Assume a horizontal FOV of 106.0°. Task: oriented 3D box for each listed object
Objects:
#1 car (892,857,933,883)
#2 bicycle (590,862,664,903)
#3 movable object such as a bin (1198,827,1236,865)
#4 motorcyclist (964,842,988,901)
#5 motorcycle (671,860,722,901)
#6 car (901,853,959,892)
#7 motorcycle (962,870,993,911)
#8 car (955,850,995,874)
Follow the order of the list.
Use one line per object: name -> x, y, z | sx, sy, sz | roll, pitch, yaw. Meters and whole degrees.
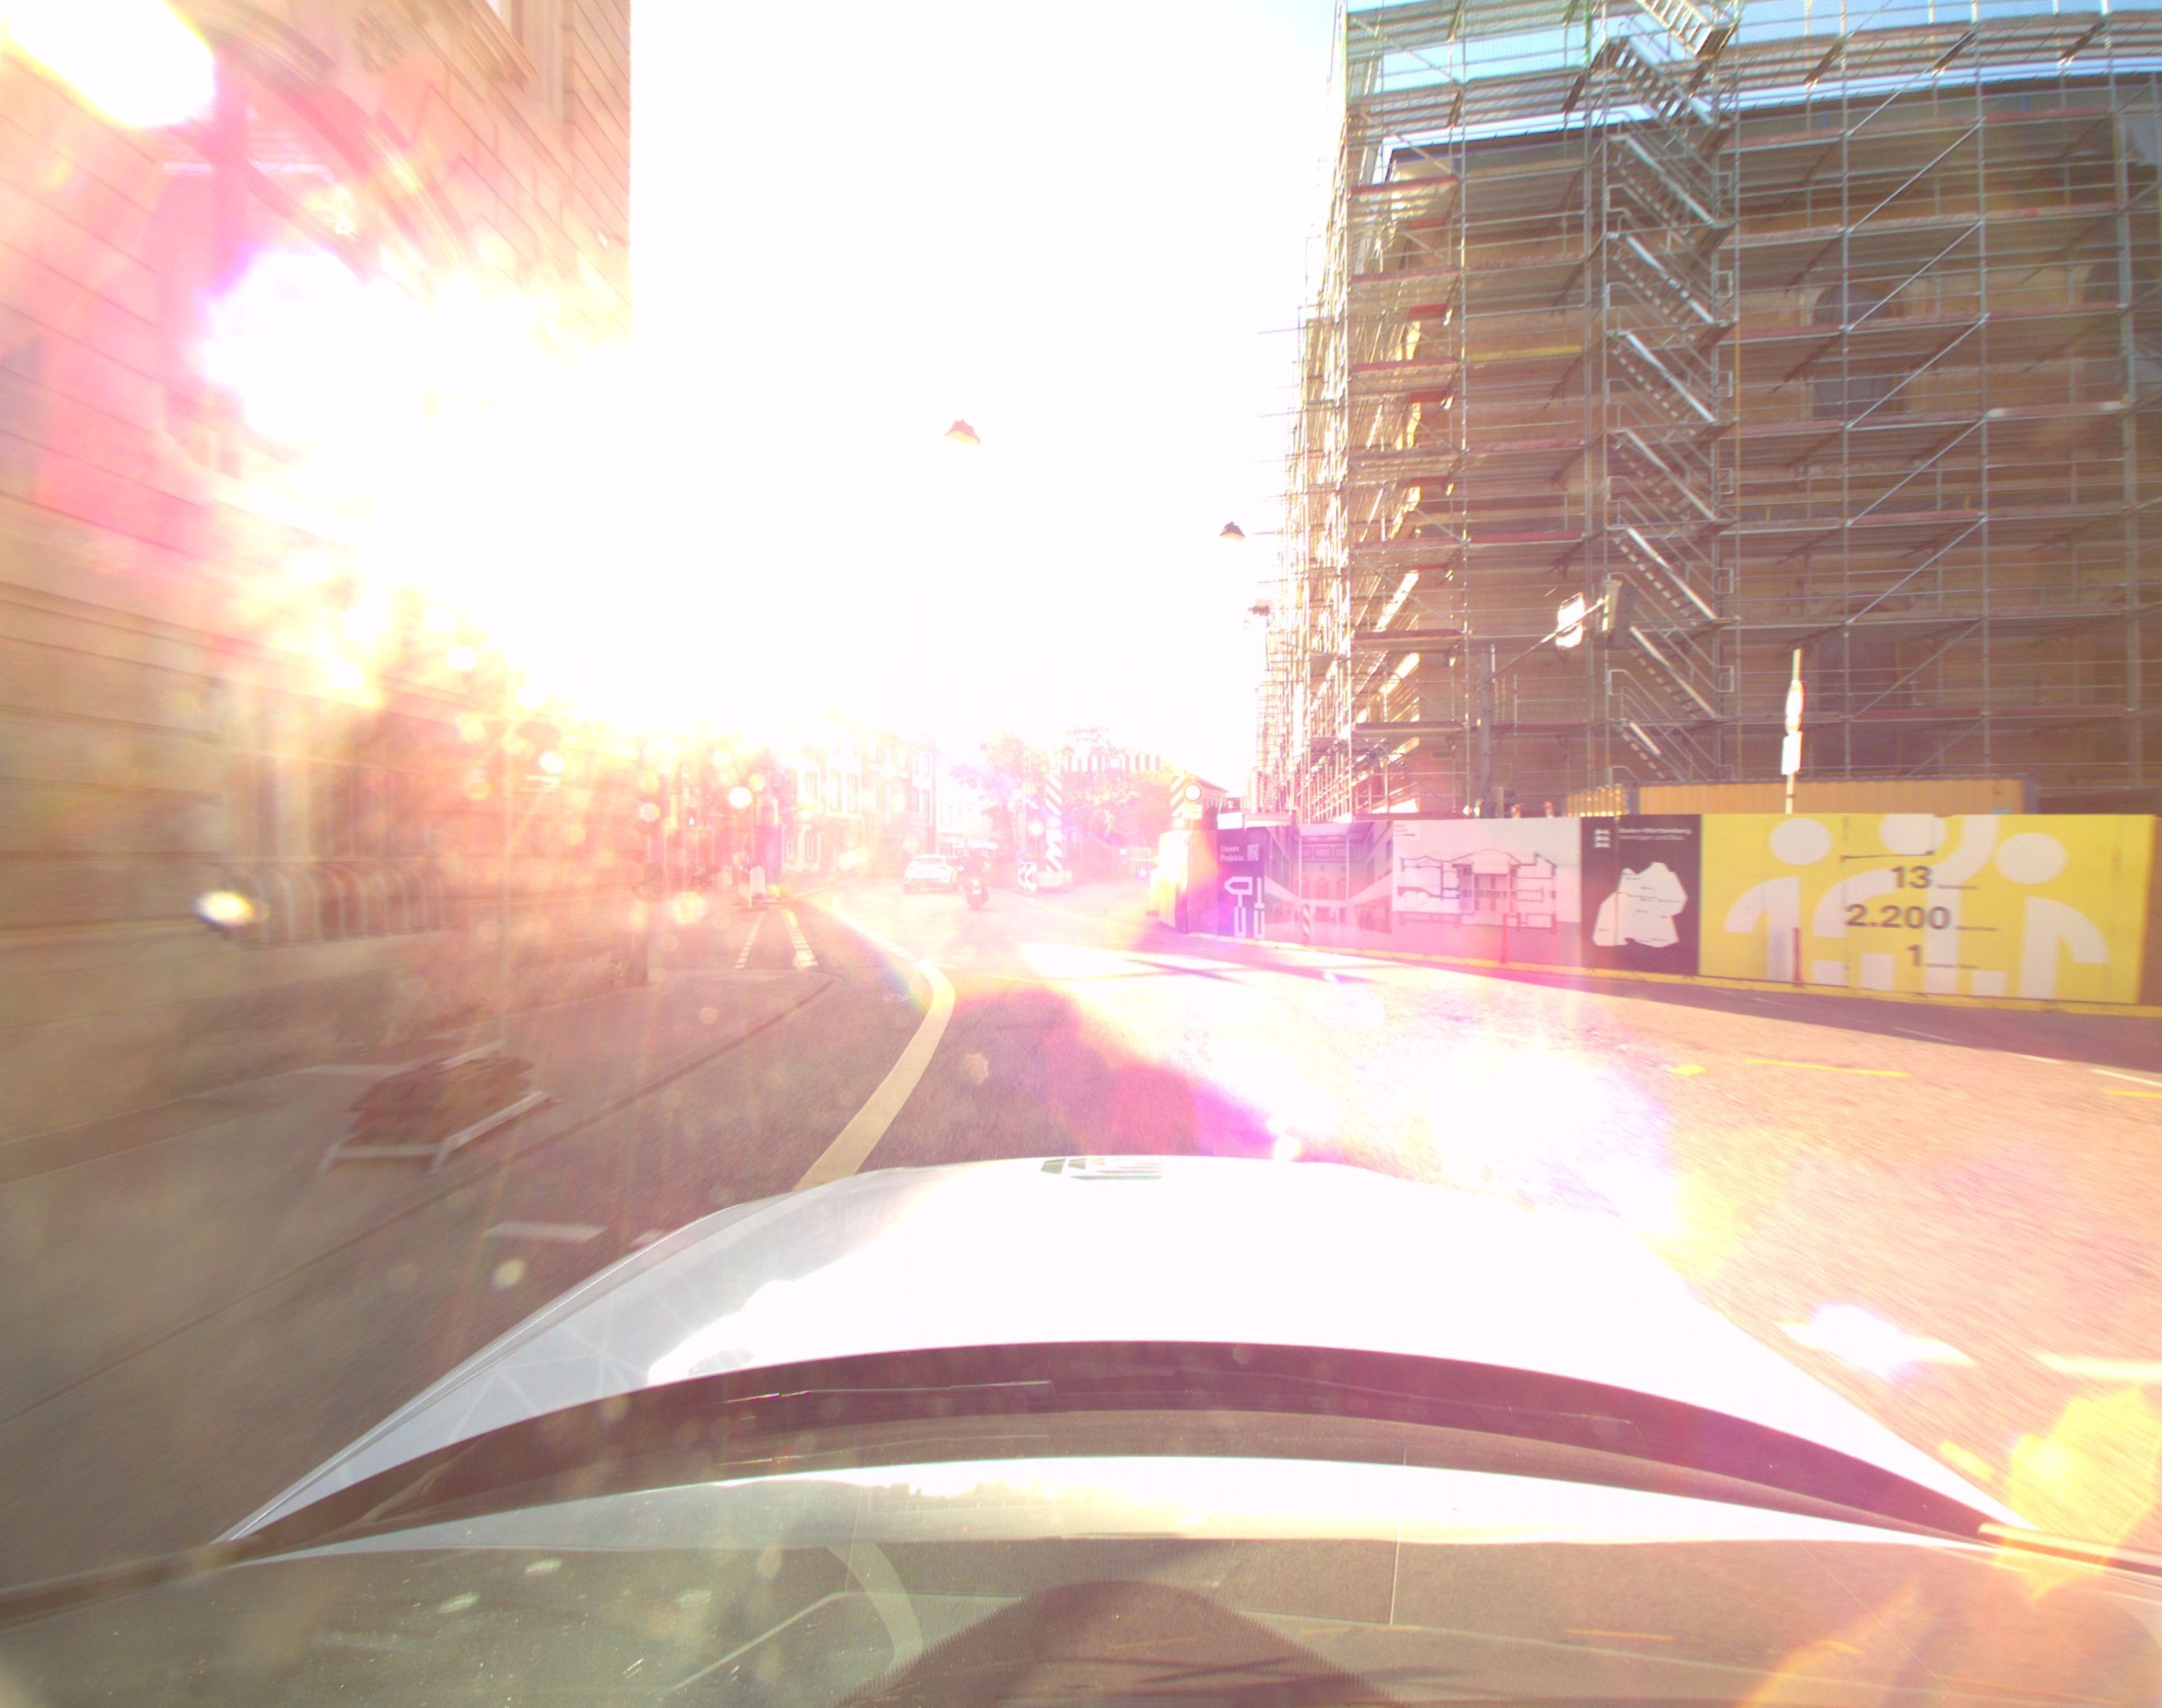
car -> -9.954, 0.933, 48.371 | 1.837, 1.463, 4.051 | 0, 0, -5
bicycle -> -14.749, 0.912, 26.493 | 2.015, 1.206, 0.676 | -2, -1, -38
movable object such as a bin -> 17.254, -0.984, 102.714 | 3.279, 4.539, 7.944 | -1, 0, 20
motorcyclist -> -2.973, 0.490, 22.990 | 0.657, 1.650, 0.648 | 0, 0, -9
motorcycle -> -13.236, 0.868, 28.116 | 0.810, 1.317, 2.333 | -1, 0, -4
car -> -5.983, 0.695, 32.661 | 1.847, 1.480, 4.052 | 0, 0, -4
motorcycle -> -2.920, 0.995, 22.876 | 0.796, 1.066, 1.719 | 0, 0, -10
car -> -7.880, 0.604, 61.074 | 1.829, 1.713, 4.069 | 0, 0, 10
